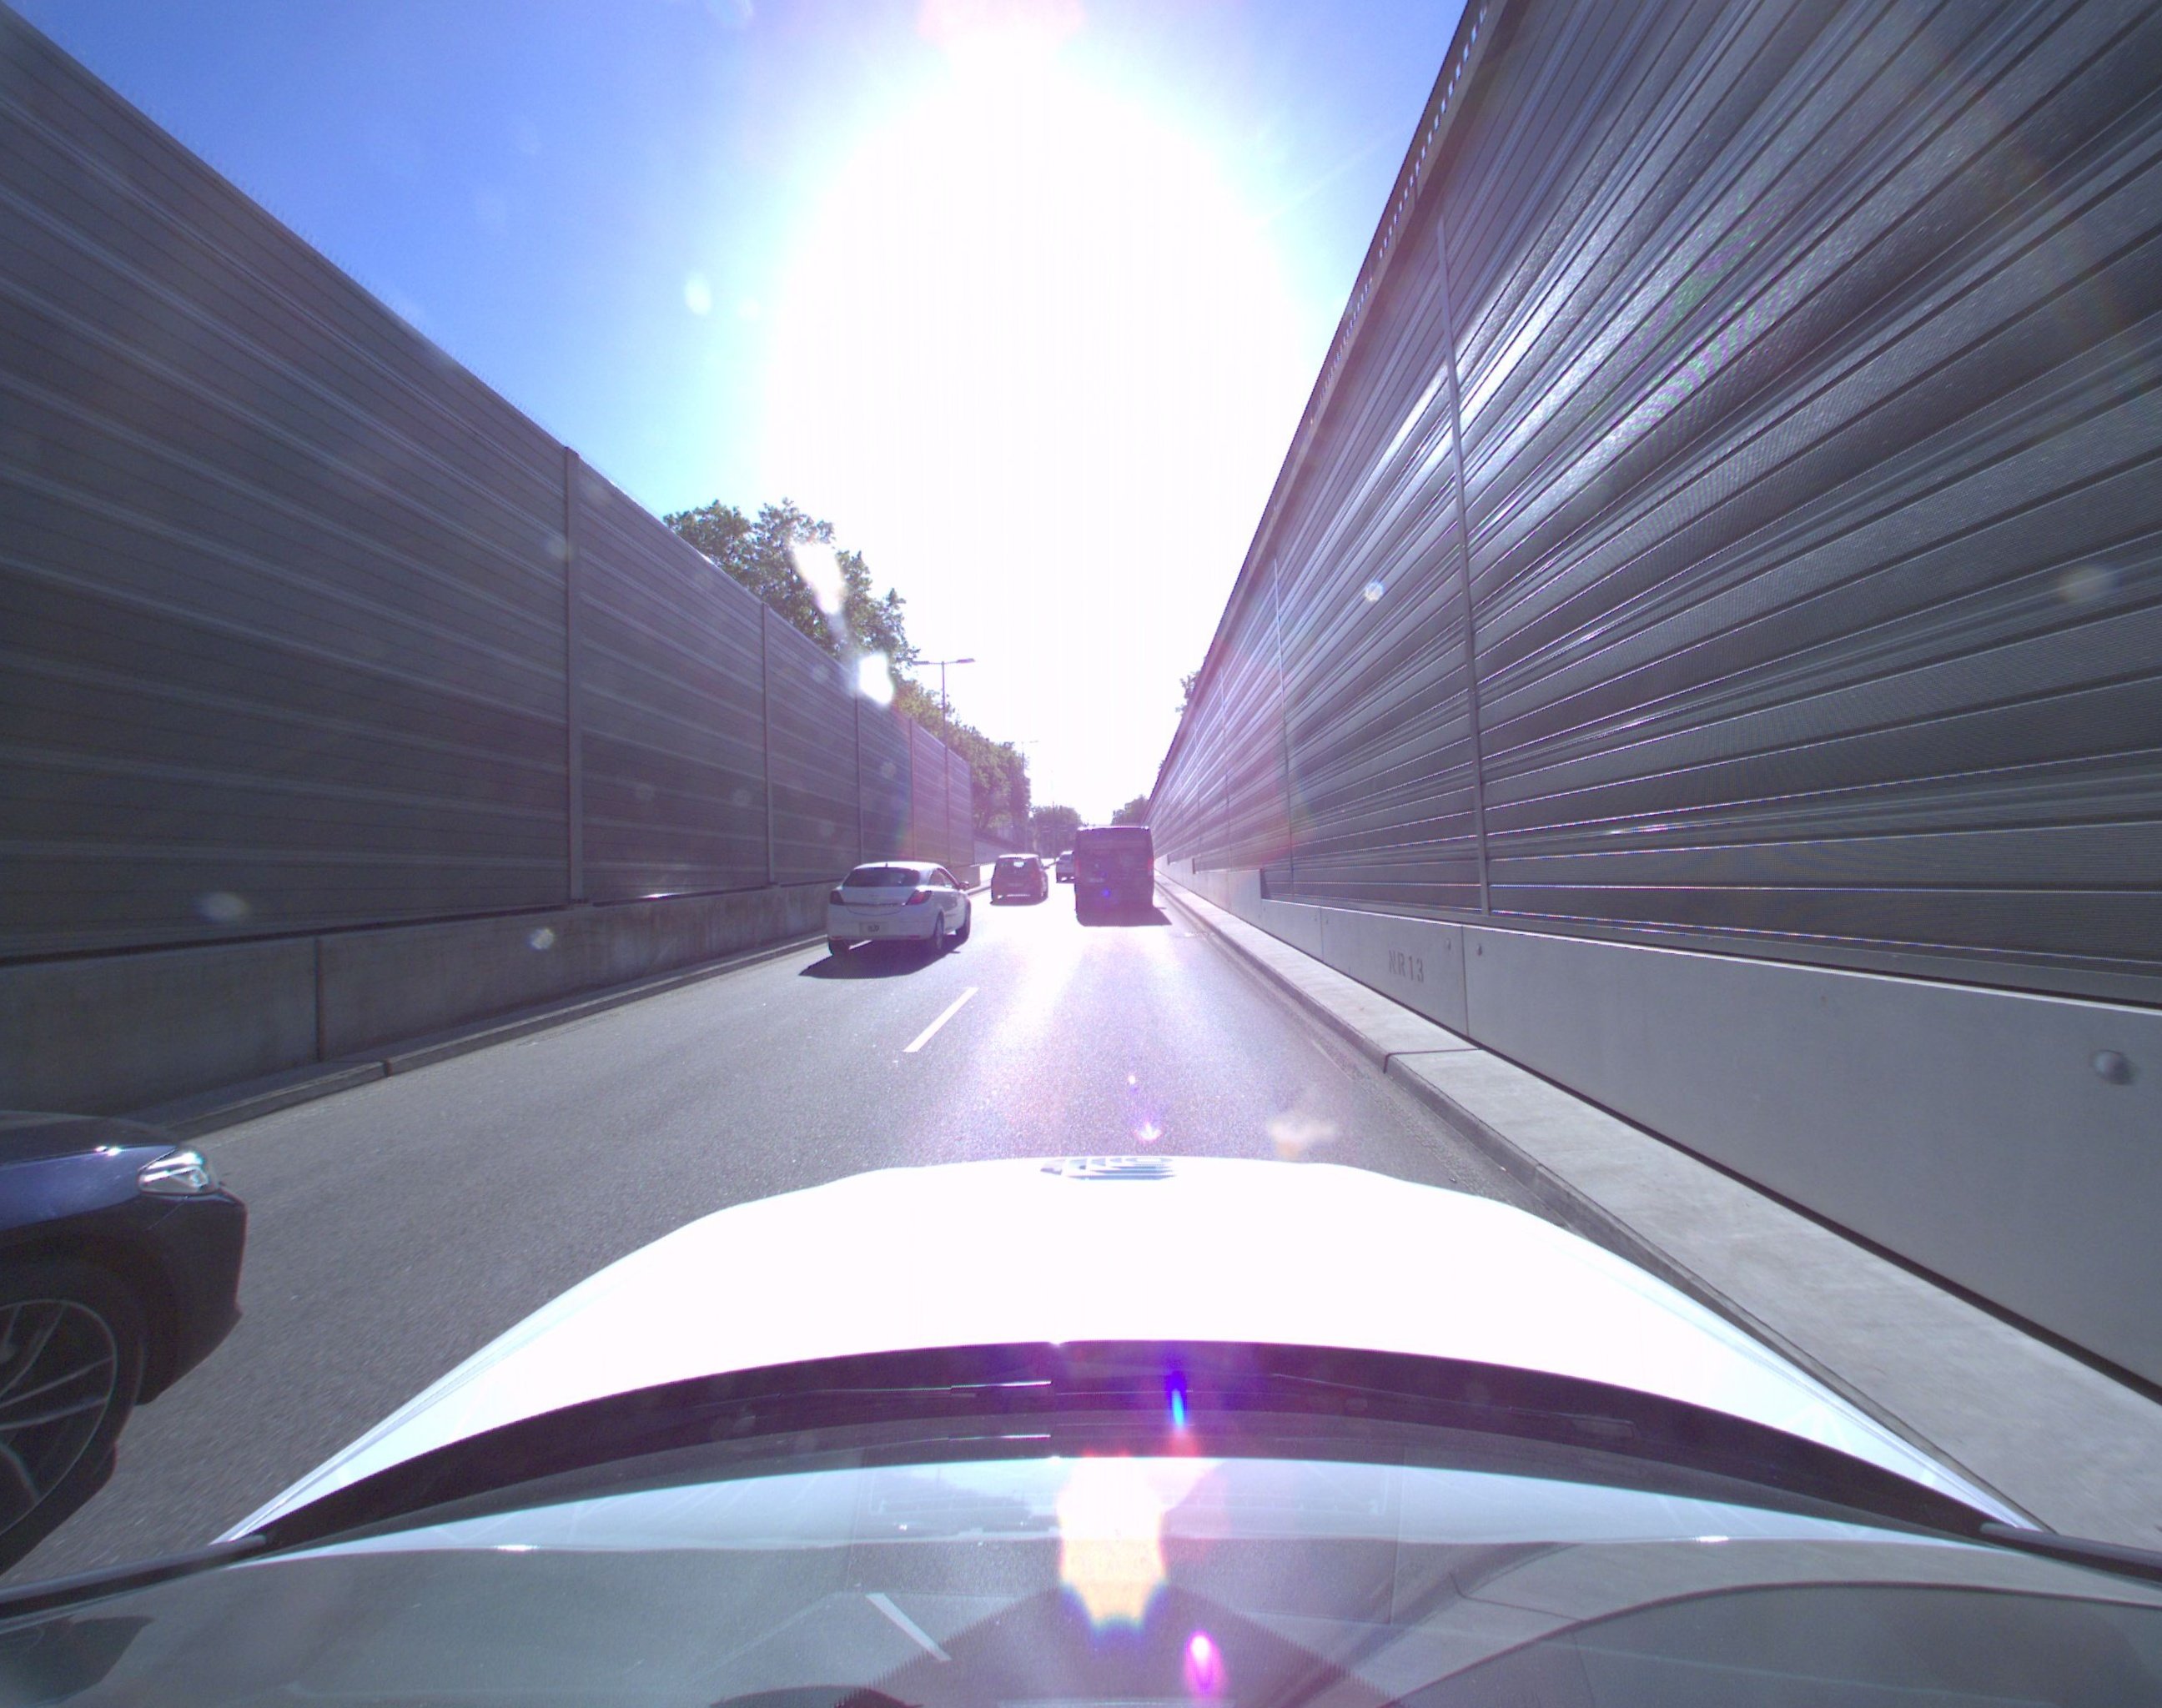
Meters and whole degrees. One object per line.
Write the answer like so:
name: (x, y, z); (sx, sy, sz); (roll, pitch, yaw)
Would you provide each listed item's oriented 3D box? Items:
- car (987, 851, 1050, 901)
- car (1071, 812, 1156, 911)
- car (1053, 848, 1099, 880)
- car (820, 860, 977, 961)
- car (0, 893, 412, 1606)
car: (-2.002, 0.665, 27.014); (1.682, 1.483, 3.320); (-1, 1, 2)
car: (0.894, 0.184, 22.188); (2.022, 2.402, 3.975); (-2, 0, 2)
car: (-0.195, 0.475, 40.966); (1.882, 1.475, 3.998); (-1, 0, 6)
car: (-2.895, 0.827, 13.734); (1.612, 1.403, 3.854); (-1, 0, 2)
car: (-3.192, 0.822, 0.199); (1.802, 1.439, 5.004); (-1, -1, 2)
